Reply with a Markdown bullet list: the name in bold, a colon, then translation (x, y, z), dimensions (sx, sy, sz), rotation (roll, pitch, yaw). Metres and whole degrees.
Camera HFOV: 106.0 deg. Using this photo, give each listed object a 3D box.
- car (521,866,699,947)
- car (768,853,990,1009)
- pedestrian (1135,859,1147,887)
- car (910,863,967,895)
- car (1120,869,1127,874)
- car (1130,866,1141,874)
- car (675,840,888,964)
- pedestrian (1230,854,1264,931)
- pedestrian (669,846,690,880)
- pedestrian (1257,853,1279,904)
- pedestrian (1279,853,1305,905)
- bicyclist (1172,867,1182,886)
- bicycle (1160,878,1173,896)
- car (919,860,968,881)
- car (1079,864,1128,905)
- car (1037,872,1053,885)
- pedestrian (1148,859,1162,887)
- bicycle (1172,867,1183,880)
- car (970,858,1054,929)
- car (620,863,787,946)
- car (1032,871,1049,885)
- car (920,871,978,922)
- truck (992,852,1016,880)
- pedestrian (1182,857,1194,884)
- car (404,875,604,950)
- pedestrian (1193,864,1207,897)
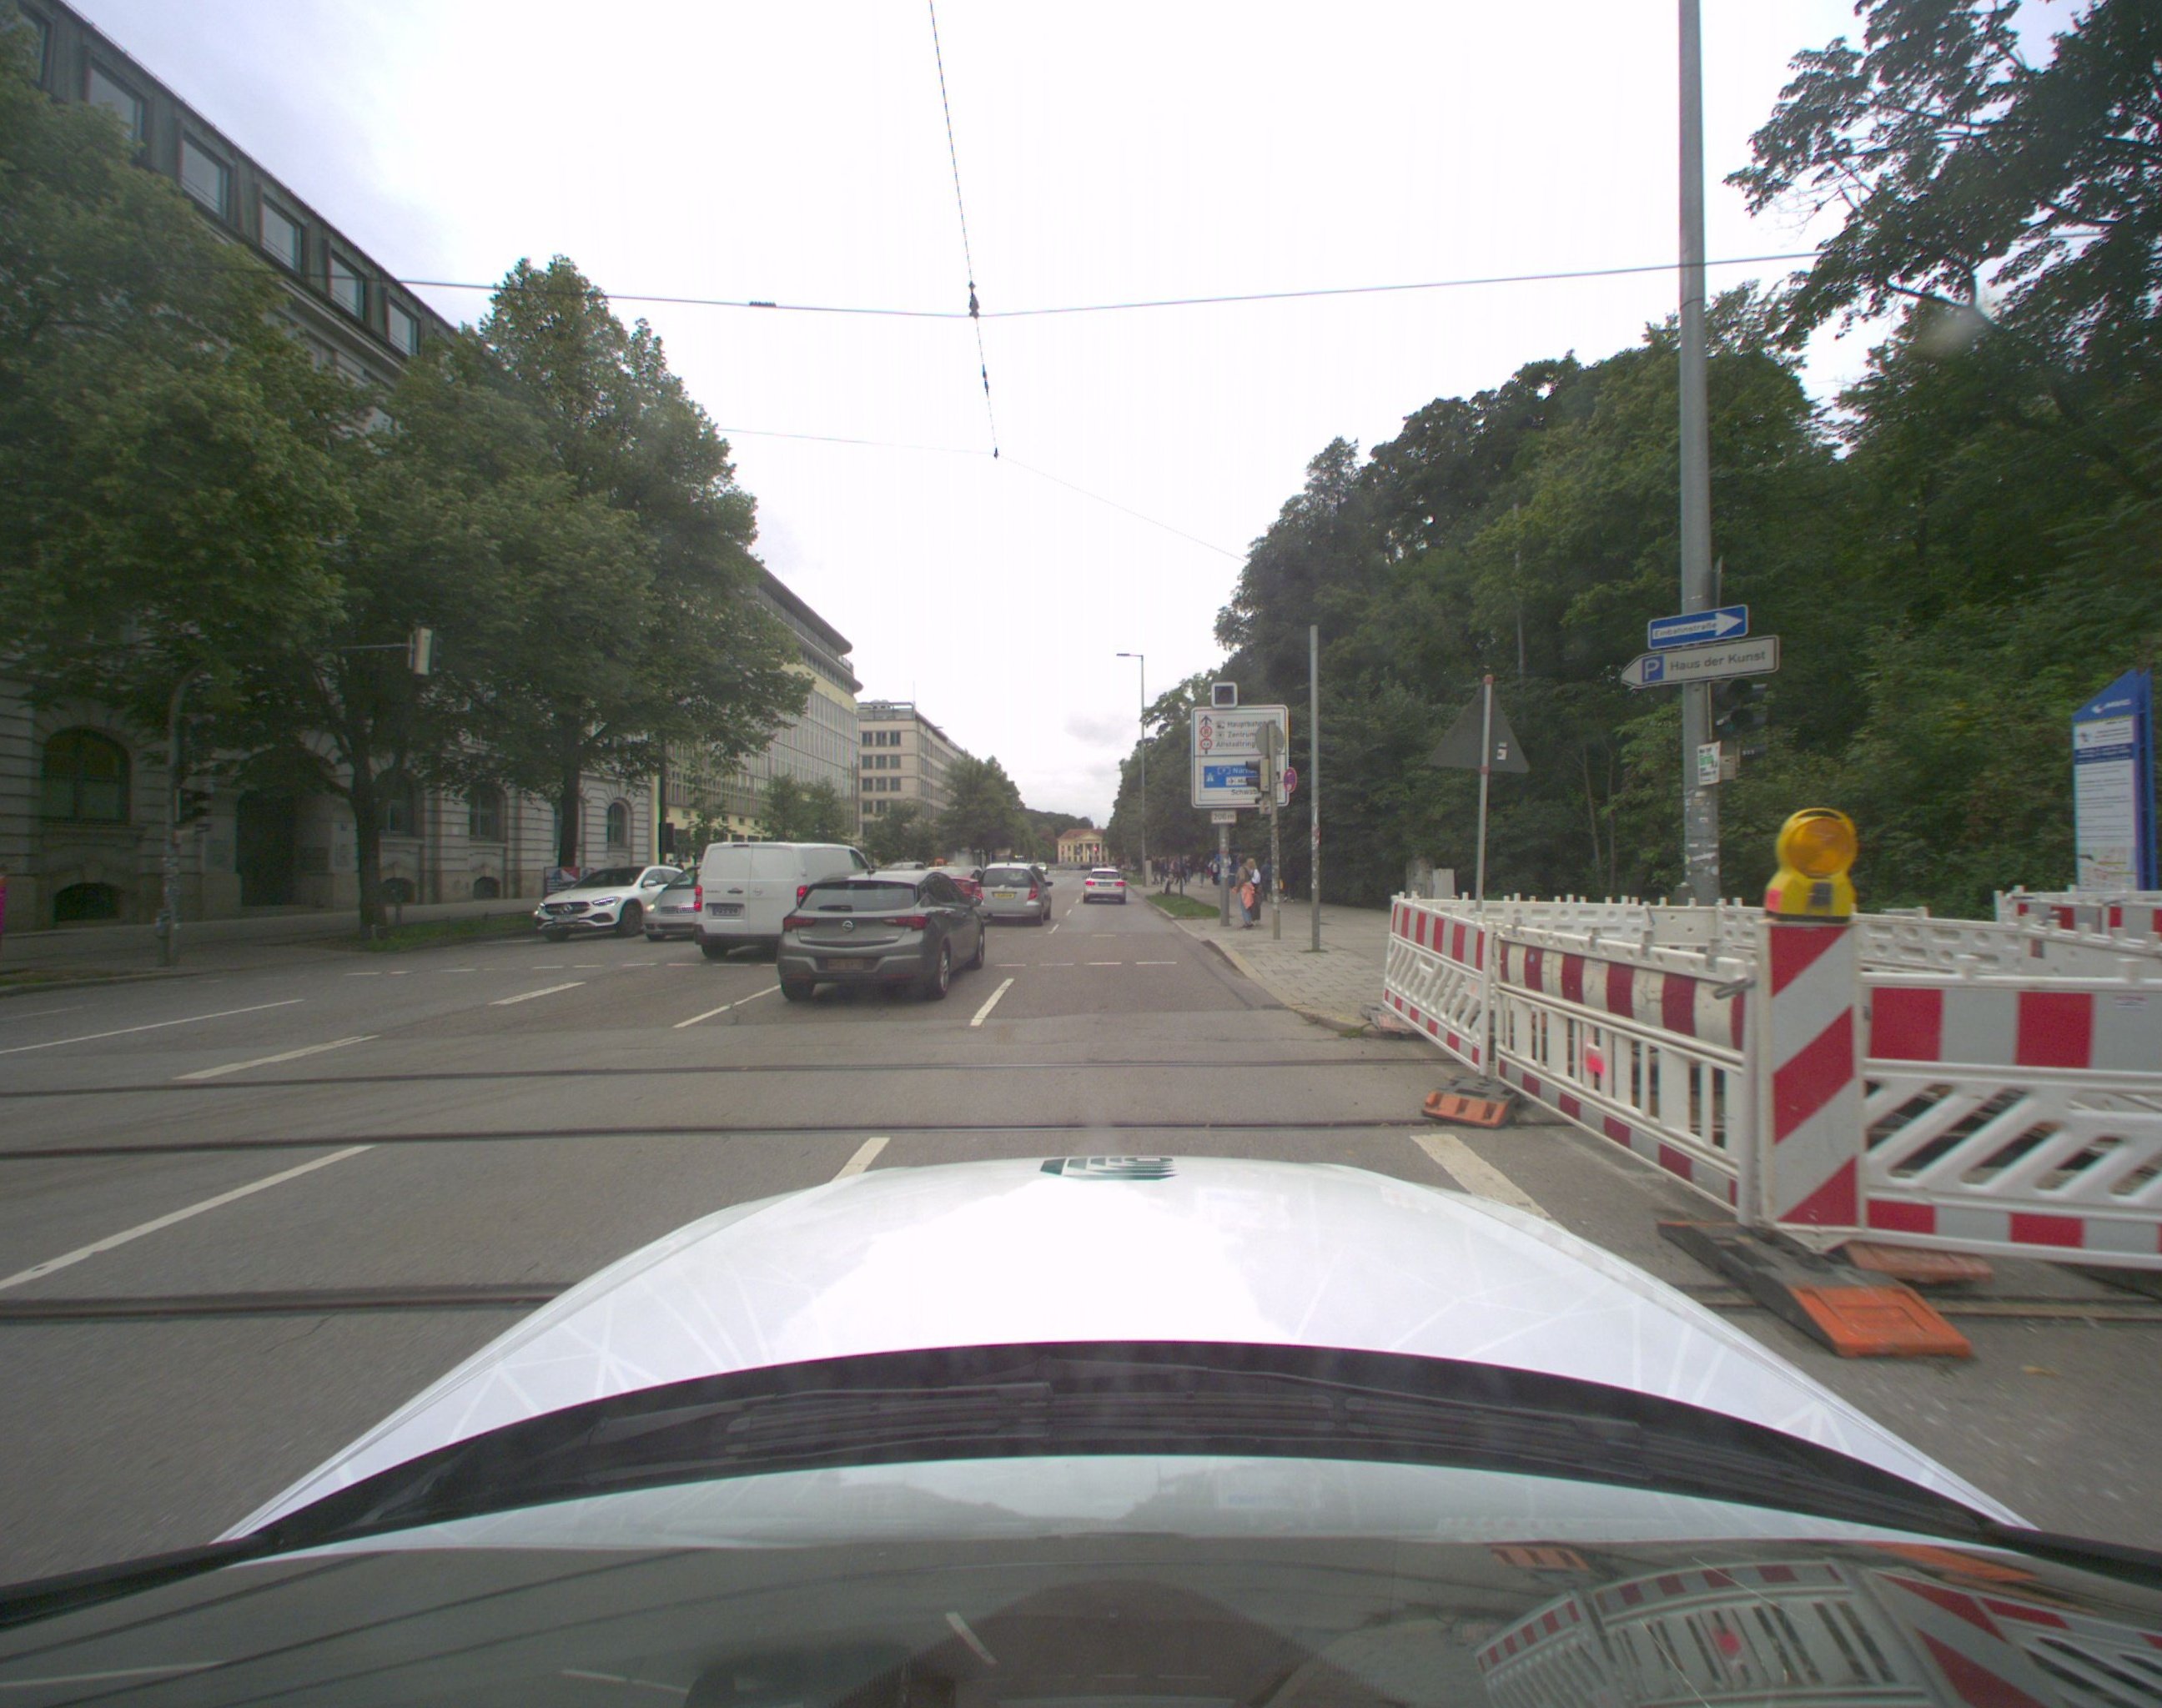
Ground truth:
- **car**: translation (-10.658, 1.106, 18.806), dimensions (1.738, 1.596, 3.999), rotation (-2, -1, 0)
- **car**: translation (-2.287, 0.827, 10.326), dimensions (1.704, 1.552, 4.000), rotation (1, -1, 1)
- **pedestrian**: translation (3.880, 1.218, 52.339), dimensions (0.705, 1.809, 0.639), rotation (1, -1, 1)
- **car**: translation (-6.891, 1.190, 39.886), dimensions (1.760, 1.423, 4.749), rotation (-2, -1, 2)
- **car**: translation (12.256, 4.994, 234.706), dimensions (1.717, 1.323, 4.030), rotation (0, 1, 2)
- **car**: translation (10.000, 2.939, 150.194), dimensions (1.820, 1.550, 4.754), rotation (-1, -1, 2)
- **car**: translation (-5.057, 0.777, 14.660), dimensions (1.891, 1.848, 4.956), rotation (0, -1, 1)
- **pedestrian**: translation (3.866, 0.896, 19.009), dimensions (0.607, 1.761, 0.635), rotation (0, -1, -4)
- **pedestrian**: translation (-21.397, 0.478, 43.392), dimensions (0.613, 1.777, 0.836), rotation (1, -1, 2)
- **pedestrian**: translation (6.838, 0.887, 29.775), dimensions (0.668, 1.839, 0.641), rotation (1, -1, 2)
- **pedestrian**: translation (7.603, 0.881, 29.423), dimensions (0.748, 1.839, 0.757), rotation (1, -1, 2)
- **bicyclist**: translation (7.874, 1.862, 66.682), dimensions (0.705, 1.562, 0.639), rotation (1, -1, 1)
- **bicycle**: translation (3.972, 1.527, 37.888), dimensions (0.491, 0.794, 1.890), rotation (1, -1, 2)
- **car**: translation (-17.043, 2.093, 101.072), dimensions (5.667, 2.537, 2.154), rotation (0, -1, -3)
- **car**: translation (0.907, 1.270, 34.888), dimensions (1.775, 1.645, 3.995), rotation (1, -1, -3)
- **car**: translation (-4.792, 3.310, 109.925), dimensions (1.814, 1.728, 3.883), rotation (1, -1, 2)
- **pedestrian**: translation (5.006, 1.272, 55.155), dimensions (0.795, 1.881, 0.547), rotation (0, -2, 37)
- **bicycle**: translation (7.869, 1.598, 66.649), dimensions (0.672, 1.030, 2.013), rotation (1, -1, 2)
- **car**: translation (-1.727, 0.991, 21.616), dimensions (1.773, 1.654, 4.000), rotation (1, -1, 1)
- **car**: translation (-7.895, 0.994, 17.454), dimensions (1.628, 1.572, 3.947), rotation (0, -1, 2)
- **car**: translation (-5.250, 3.137, 105.965), dimensions (1.850, 1.749, 4.631), rotation (-2, -1, 2)
- **car**: translation (-4.635, 1.453, 29.065), dimensions (1.777, 1.654, 3.991), rotation (1, -1, -6)
- **truck**: translation (-10.964, 1.739, 116.936), dimensions (2.909, 3.775, 7.658), rotation (1, -1, -2)
- **pedestrian**: translation (7.398, 1.150, 56.273), dimensions (0.705, 1.809, 0.950), rotation (1, -1, 1)
- **car**: translation (-13.451, 1.294, 19.340), dimensions (1.728, 1.576, 4.058), rotation (0, -1, 2)
- **pedestrian**: translation (6.910, 1.530, 47.279), dimensions (0.705, 1.915, 0.956), rotation (1, -1, 1)
